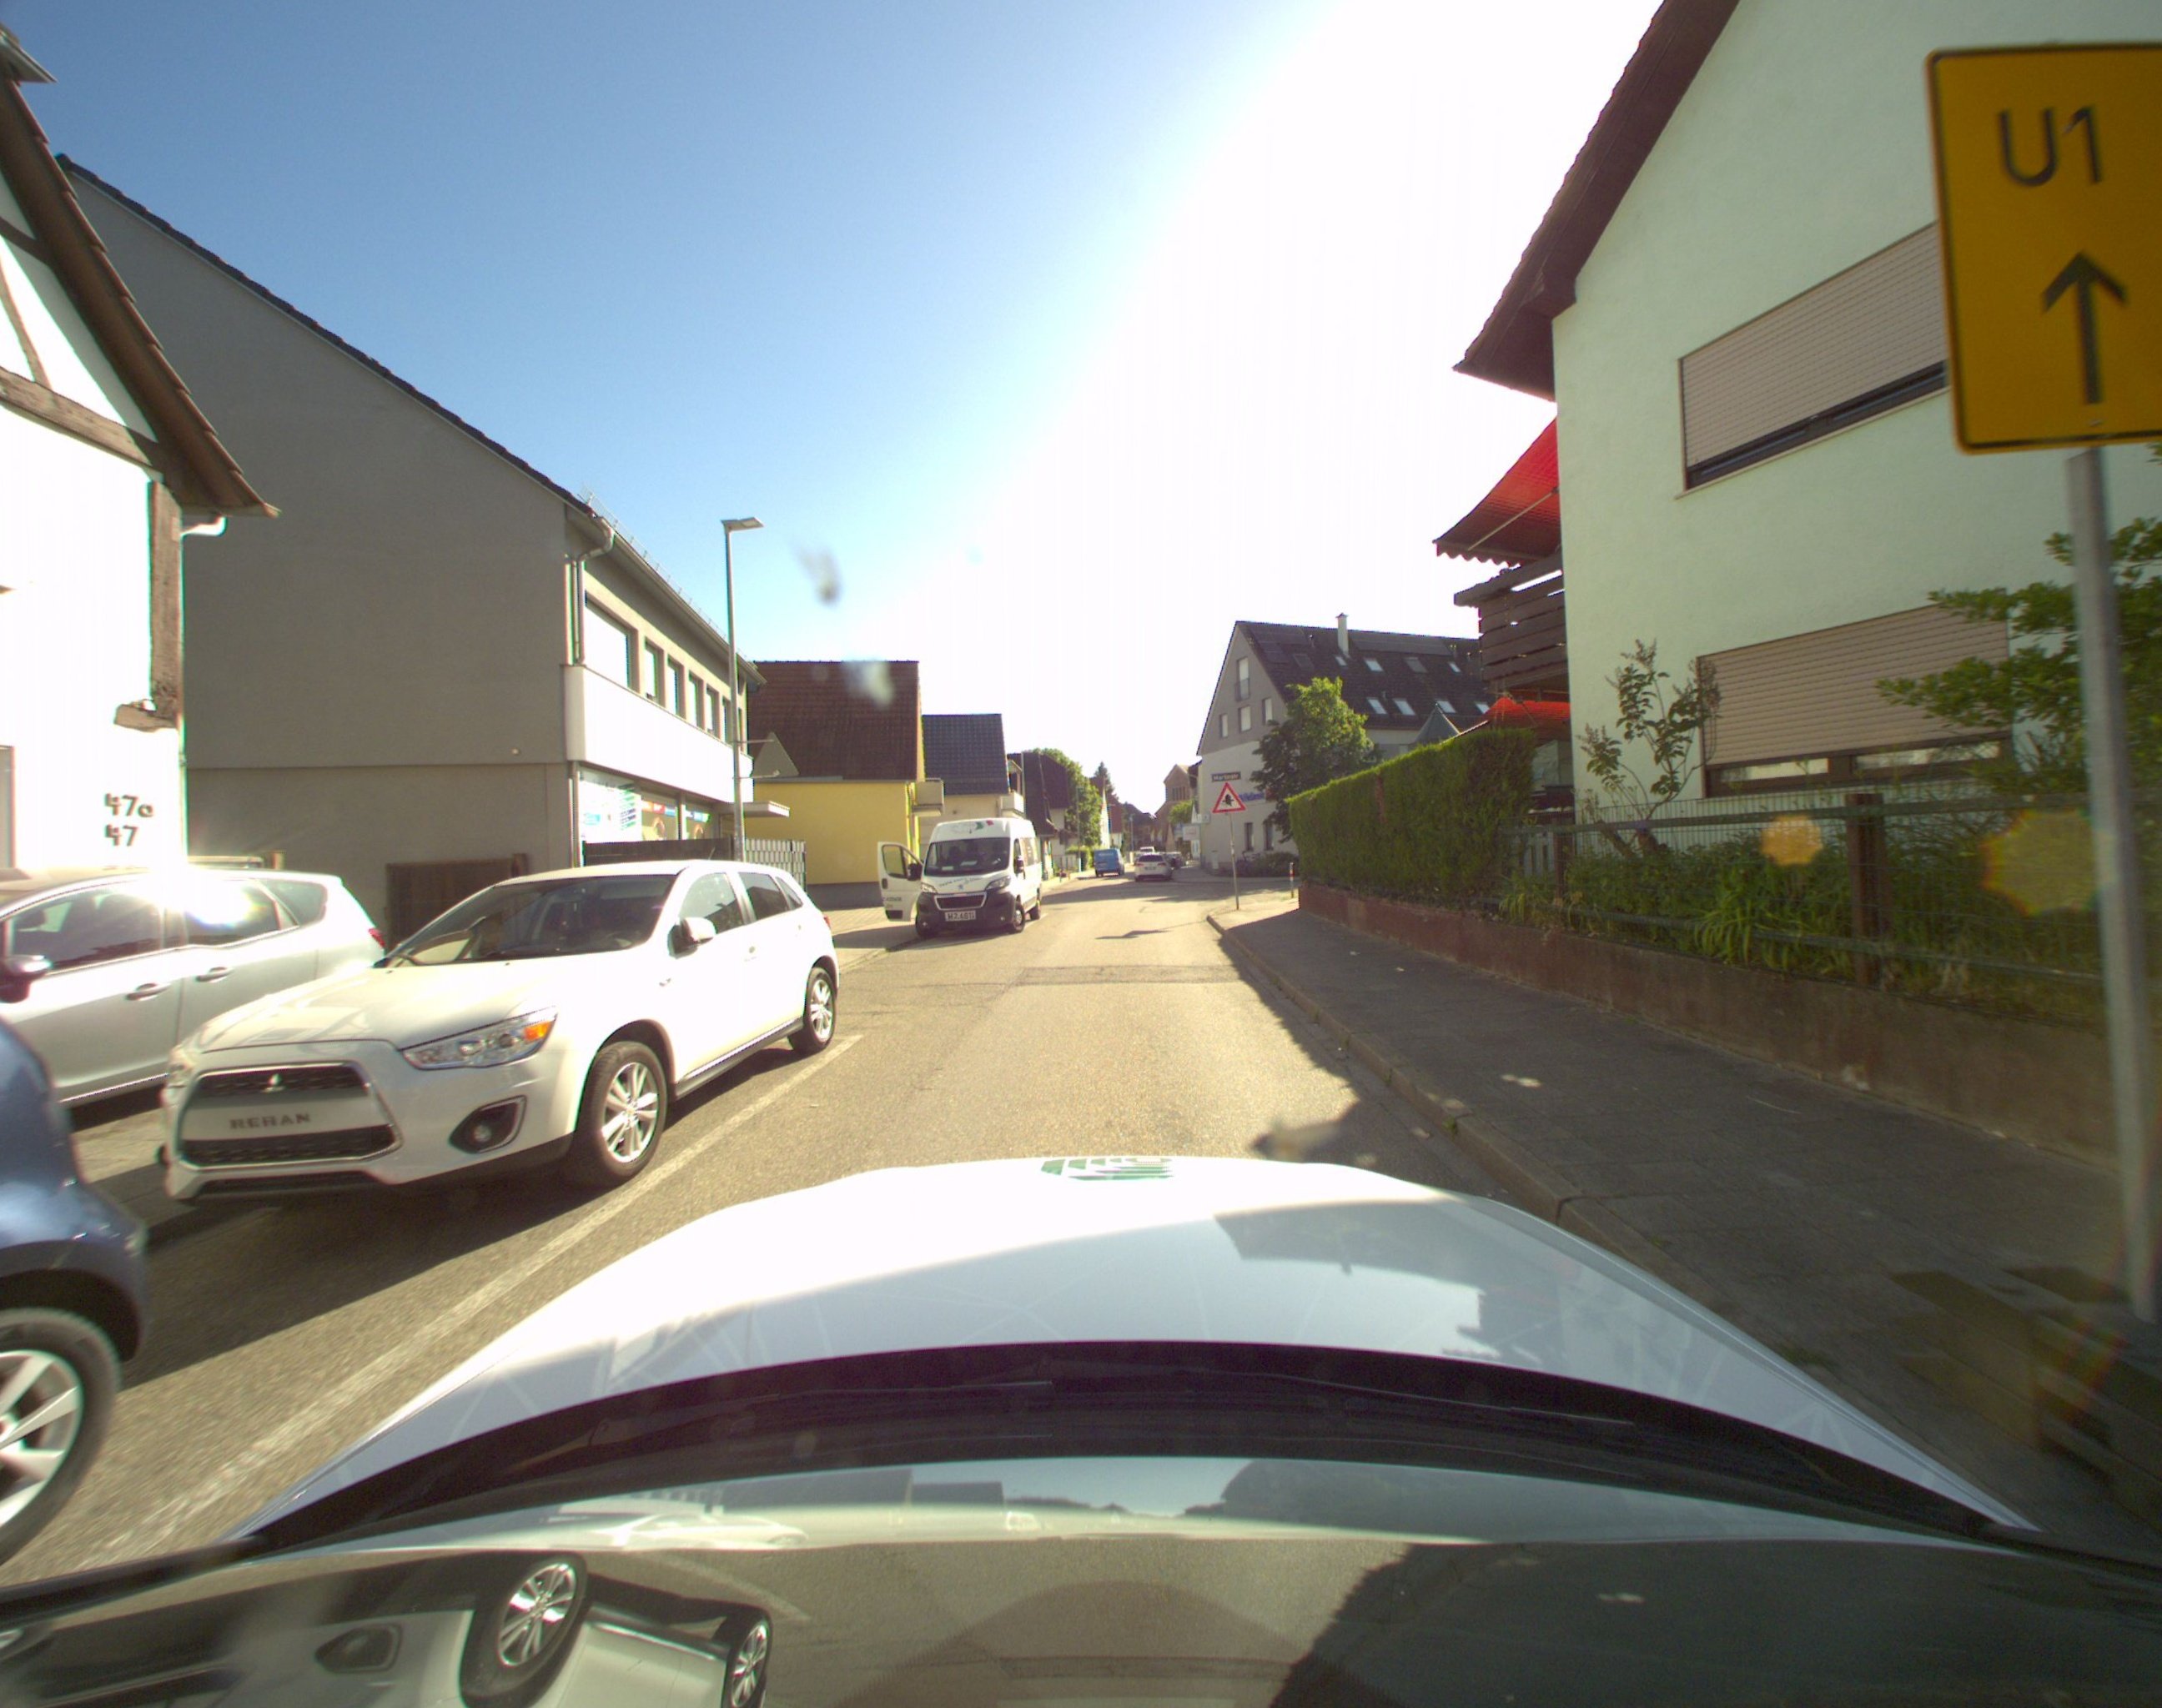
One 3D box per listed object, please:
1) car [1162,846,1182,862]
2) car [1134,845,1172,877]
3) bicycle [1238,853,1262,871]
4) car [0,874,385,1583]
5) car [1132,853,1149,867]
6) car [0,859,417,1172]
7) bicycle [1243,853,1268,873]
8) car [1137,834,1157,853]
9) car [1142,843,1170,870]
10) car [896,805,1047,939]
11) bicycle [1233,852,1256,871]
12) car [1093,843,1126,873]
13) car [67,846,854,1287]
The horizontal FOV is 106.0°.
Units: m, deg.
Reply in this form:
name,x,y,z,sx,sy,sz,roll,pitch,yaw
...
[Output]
name,x,y,z,sx,sy,sz,roll,pitch,yaw
car,9.095,-0.010,80.997,1.802,1.475,4.669,-2,0,7
car,3.894,0.337,43.676,1.836,1.513,4.514,-3,1,6
bicycle,8.982,0.421,43.256,1.154,0.920,0.314,-4,0,13
car,-3.240,0.888,0.872,1.649,1.507,3.685,-4,0,2
car,7.458,0.730,101.613,1.705,1.598,3.935,-4,0,8
car,-6.442,0.880,4.869,1.638,1.587,4.107,-3,0,-3
bicycle,9.022,0.454,42.062,1.158,0.920,0.313,-4,0,3
car,9.273,-1.479,114.125,2.184,2.389,6.079,-5,0,8
car,4.532,0.144,49.291,1.602,1.520,3.977,-2,0,5
car,-2.244,0.327,18.551,2.243,2.470,5.521,-4,0,3
bicycle,8.764,0.391,43.722,1.154,0.920,0.314,-4,0,13
car,2.074,0.229,57.757,1.893,1.917,5.077,-4,0,5
car,-3.000,0.818,5.235,1.716,1.618,4.114,-4,0,2
